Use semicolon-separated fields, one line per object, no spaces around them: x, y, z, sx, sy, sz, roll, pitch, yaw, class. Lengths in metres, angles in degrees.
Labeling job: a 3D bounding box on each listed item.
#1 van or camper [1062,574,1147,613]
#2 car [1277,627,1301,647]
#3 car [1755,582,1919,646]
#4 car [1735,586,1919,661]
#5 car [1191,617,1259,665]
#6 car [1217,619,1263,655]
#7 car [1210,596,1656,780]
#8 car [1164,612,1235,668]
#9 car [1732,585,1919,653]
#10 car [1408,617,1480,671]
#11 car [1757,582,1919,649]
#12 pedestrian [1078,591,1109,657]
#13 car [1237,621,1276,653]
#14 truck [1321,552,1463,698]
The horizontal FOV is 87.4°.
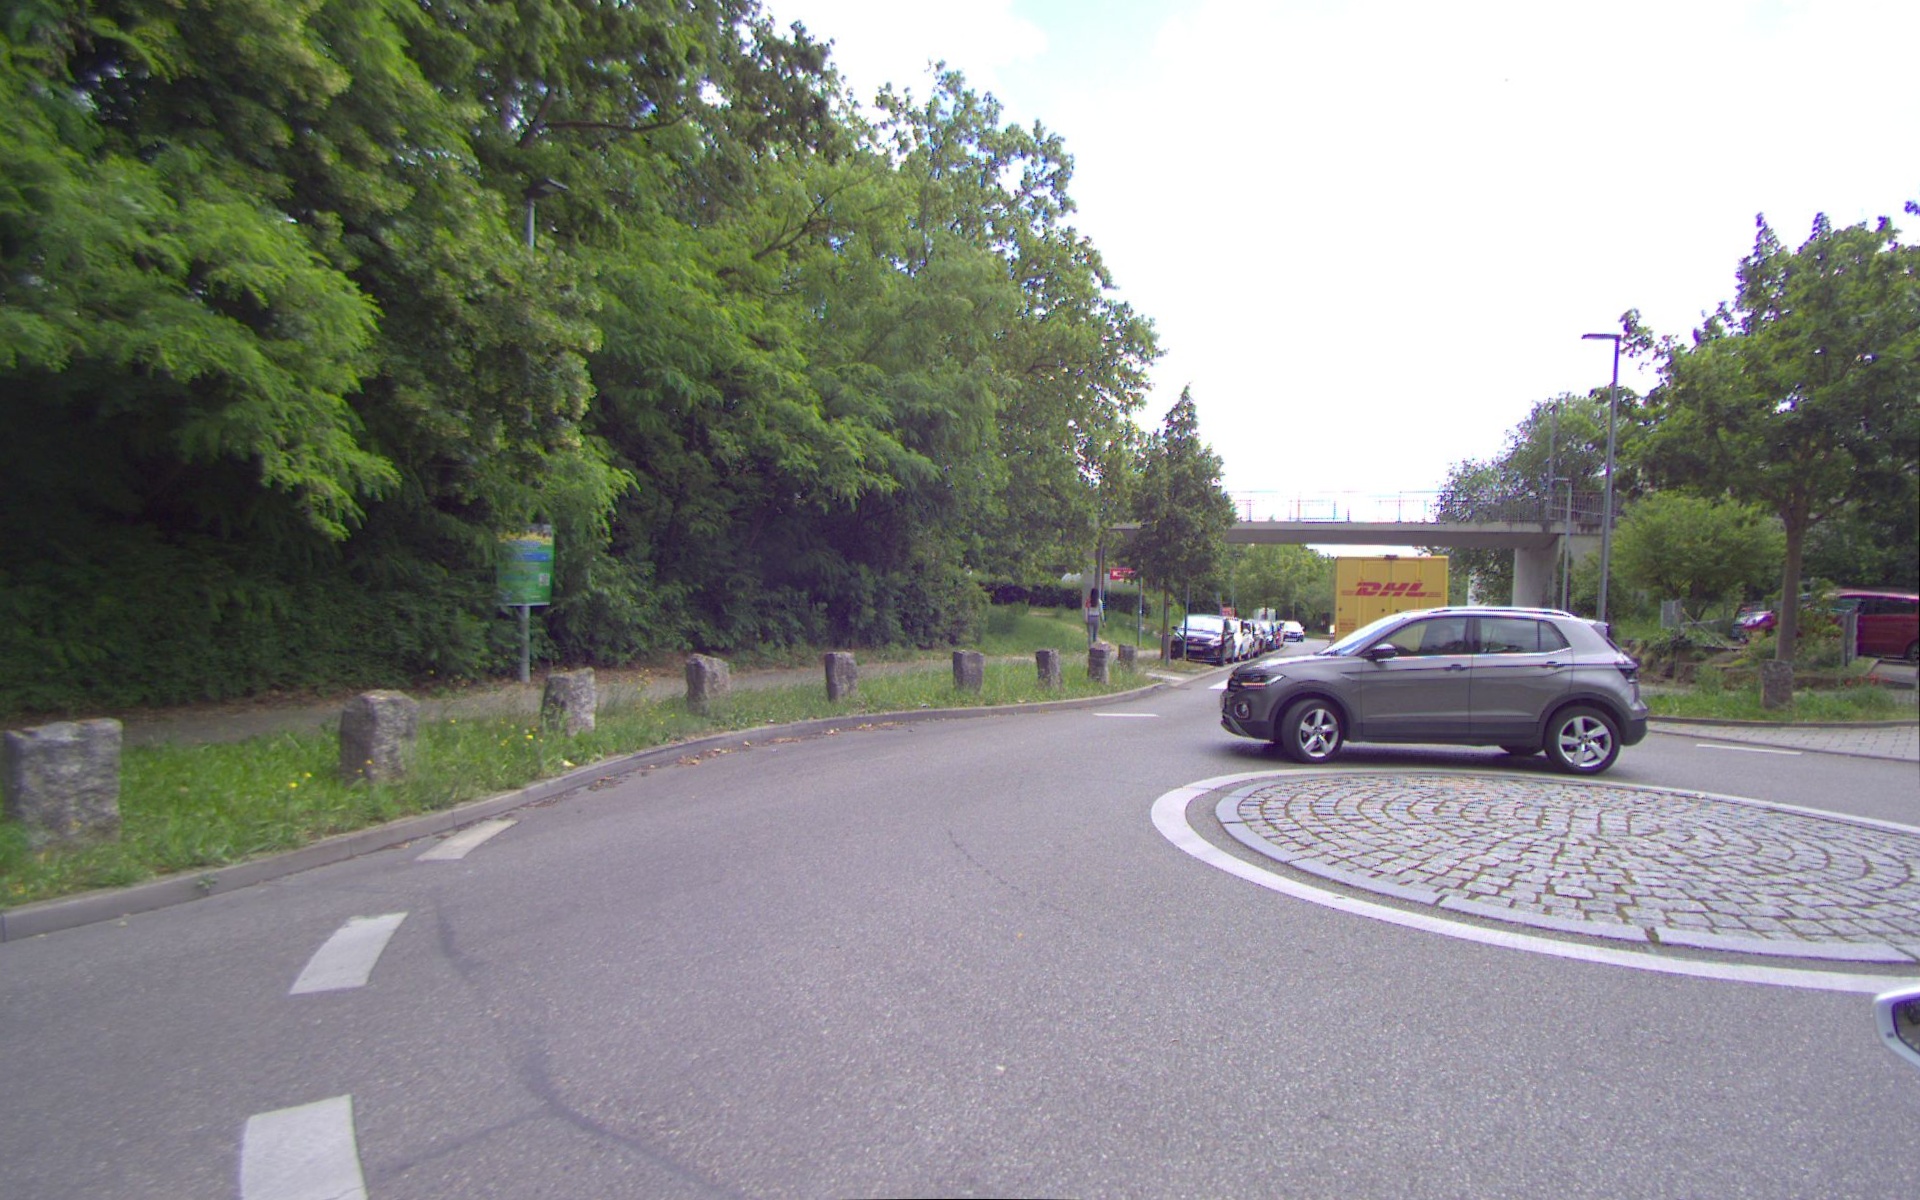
8.717;-0.412;60.710;4.772;2.114;2.001;3;1;16;van or camper
28.450;3.202;87.072;1.853;1.529;4.454;3;0;17;car
26.252;0.403;29.462;4.491;1.690;1.935;3;1;41;car
19.515;0.491;22.189;3.611;1.458;1.674;3;1;44;car
9.521;1.419;35.924;1.854;1.479;3.545;3;1;22;car
13.286;1.717;47.516;1.853;1.529;4.454;3;0;17;car
4.700;0.828;10.563;3.928;1.639;1.723;1;-1;11;car
7.522;1.198;31.355;1.756;1.487;4.000;3;1;18;car
22.464;0.456;26.110;3.611;1.518;1.674;3;1;44;car
17.103;1.616;35.676;1.783;1.700;4.372;2;-4;20;car
24.512;0.410;27.626;3.941;1.635;1.935;3;1;41;car
3.613;0.642;27.194;0.724;1.745;0.660;2;1;4;pedestrian
15.625;1.907;52.837;1.853;1.529;4.454;3;0;17;car
9.552;0.530;22.806;2.425;2.738;6.825;2;0;20;truck
